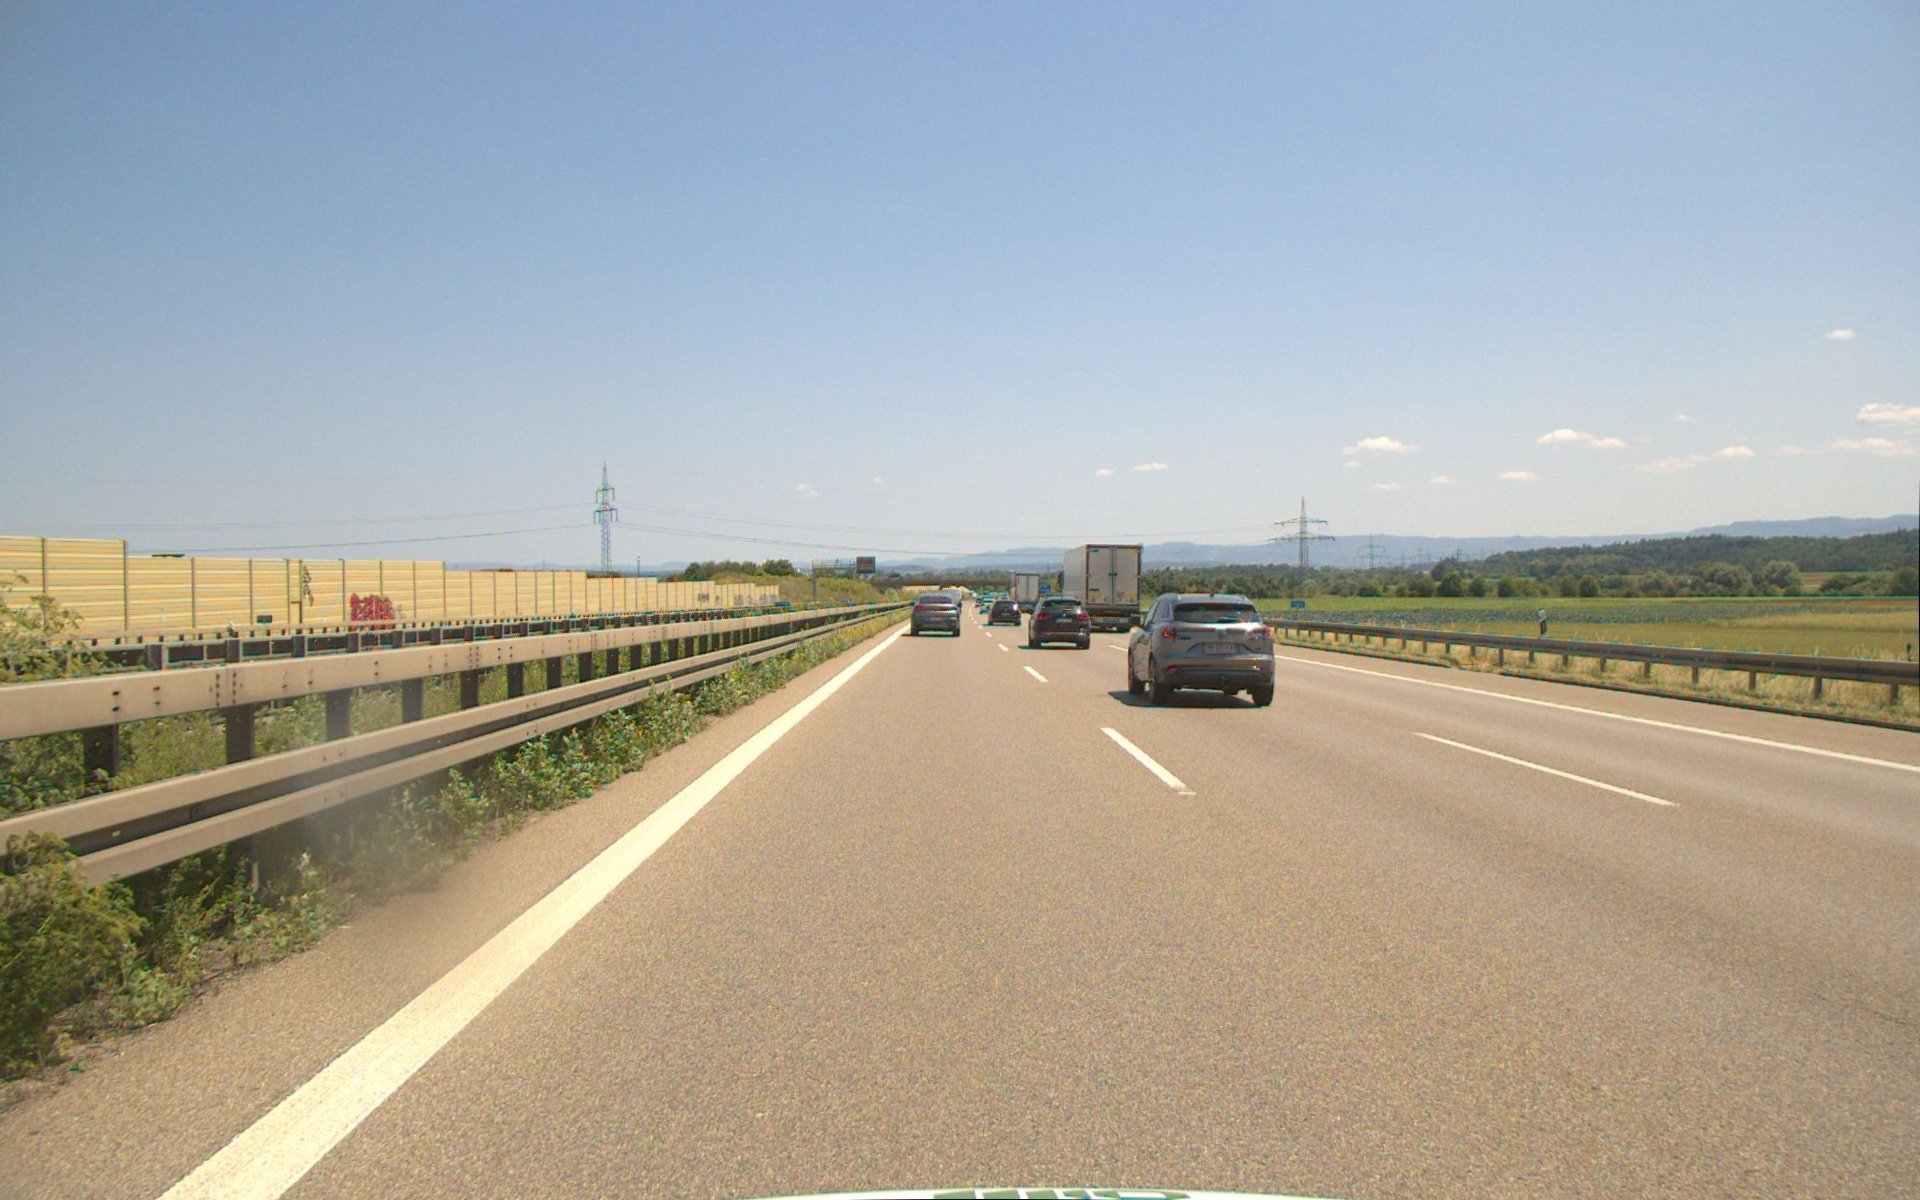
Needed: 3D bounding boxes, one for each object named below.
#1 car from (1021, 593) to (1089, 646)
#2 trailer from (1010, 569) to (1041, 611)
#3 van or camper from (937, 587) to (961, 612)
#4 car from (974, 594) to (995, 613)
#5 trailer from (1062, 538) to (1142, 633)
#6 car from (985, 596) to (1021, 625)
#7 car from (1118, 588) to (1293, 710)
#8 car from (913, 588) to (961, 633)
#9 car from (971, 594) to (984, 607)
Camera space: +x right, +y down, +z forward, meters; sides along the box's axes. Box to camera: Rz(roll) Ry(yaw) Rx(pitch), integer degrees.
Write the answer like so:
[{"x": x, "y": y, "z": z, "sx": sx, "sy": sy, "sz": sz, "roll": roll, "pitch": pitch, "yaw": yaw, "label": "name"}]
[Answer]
[{"x": 2.962, "y": 0.599, "z": 52.077, "sx": 1.760, "sy": 1.589, "sz": 3.822, "roll": 1, "pitch": 0, "yaw": -2, "label": "car"}, {"x": 6.918, "y": -1.018, "z": 176.486, "sx": 2.882, "sy": 4.271, "sz": 13.597, "roll": 1, "pitch": 0, "yaw": 1, "label": "trailer"}, {"x": -0.955, "y": -0.032, "z": 153.292, "sx": 2.067, "sy": 2.250, "sz": 5.266, "roll": 1, "pitch": 0, "yaw": 1, "label": "van or camper"}, {"x": 2.378, "y": 0.339, "z": 158.962, "sx": 1.952, "sy": 1.712, "sz": 4.000, "roll": 1, "pitch": 0, "yaw": 1, "label": "car"}, {"x": 6.920, "y": -0.616, "z": 82.533, "sx": 2.809, "sy": 4.294, "sz": 13.294, "roll": 1, "pitch": 0, "yaw": 0, "label": "trailer"}, {"x": 2.397, "y": 0.590, "z": 93.819, "sx": 1.893, "sy": 1.602, "sz": 4.934, "roll": 1, "pitch": 0, "yaw": 0, "label": "car"}, {"x": 3.665, "y": 0.702, "z": 25.490, "sx": 1.814, "sy": 1.677, "sz": 4.642, "roll": 1, "pitch": -1, "yaw": -2, "label": "car"}, {"x": -0.933, "y": 0.422, "z": 65.779, "sx": 1.814, "sy": 1.693, "sz": 3.733, "roll": 1, "pitch": 0, "yaw": -2, "label": "car"}, {"x": 2.536, "y": 0.082, "z": 239.499, "sx": 1.952, "sy": 1.712, "sz": 4.000, "roll": 1, "pitch": 0, "yaw": 1, "label": "car"}]
